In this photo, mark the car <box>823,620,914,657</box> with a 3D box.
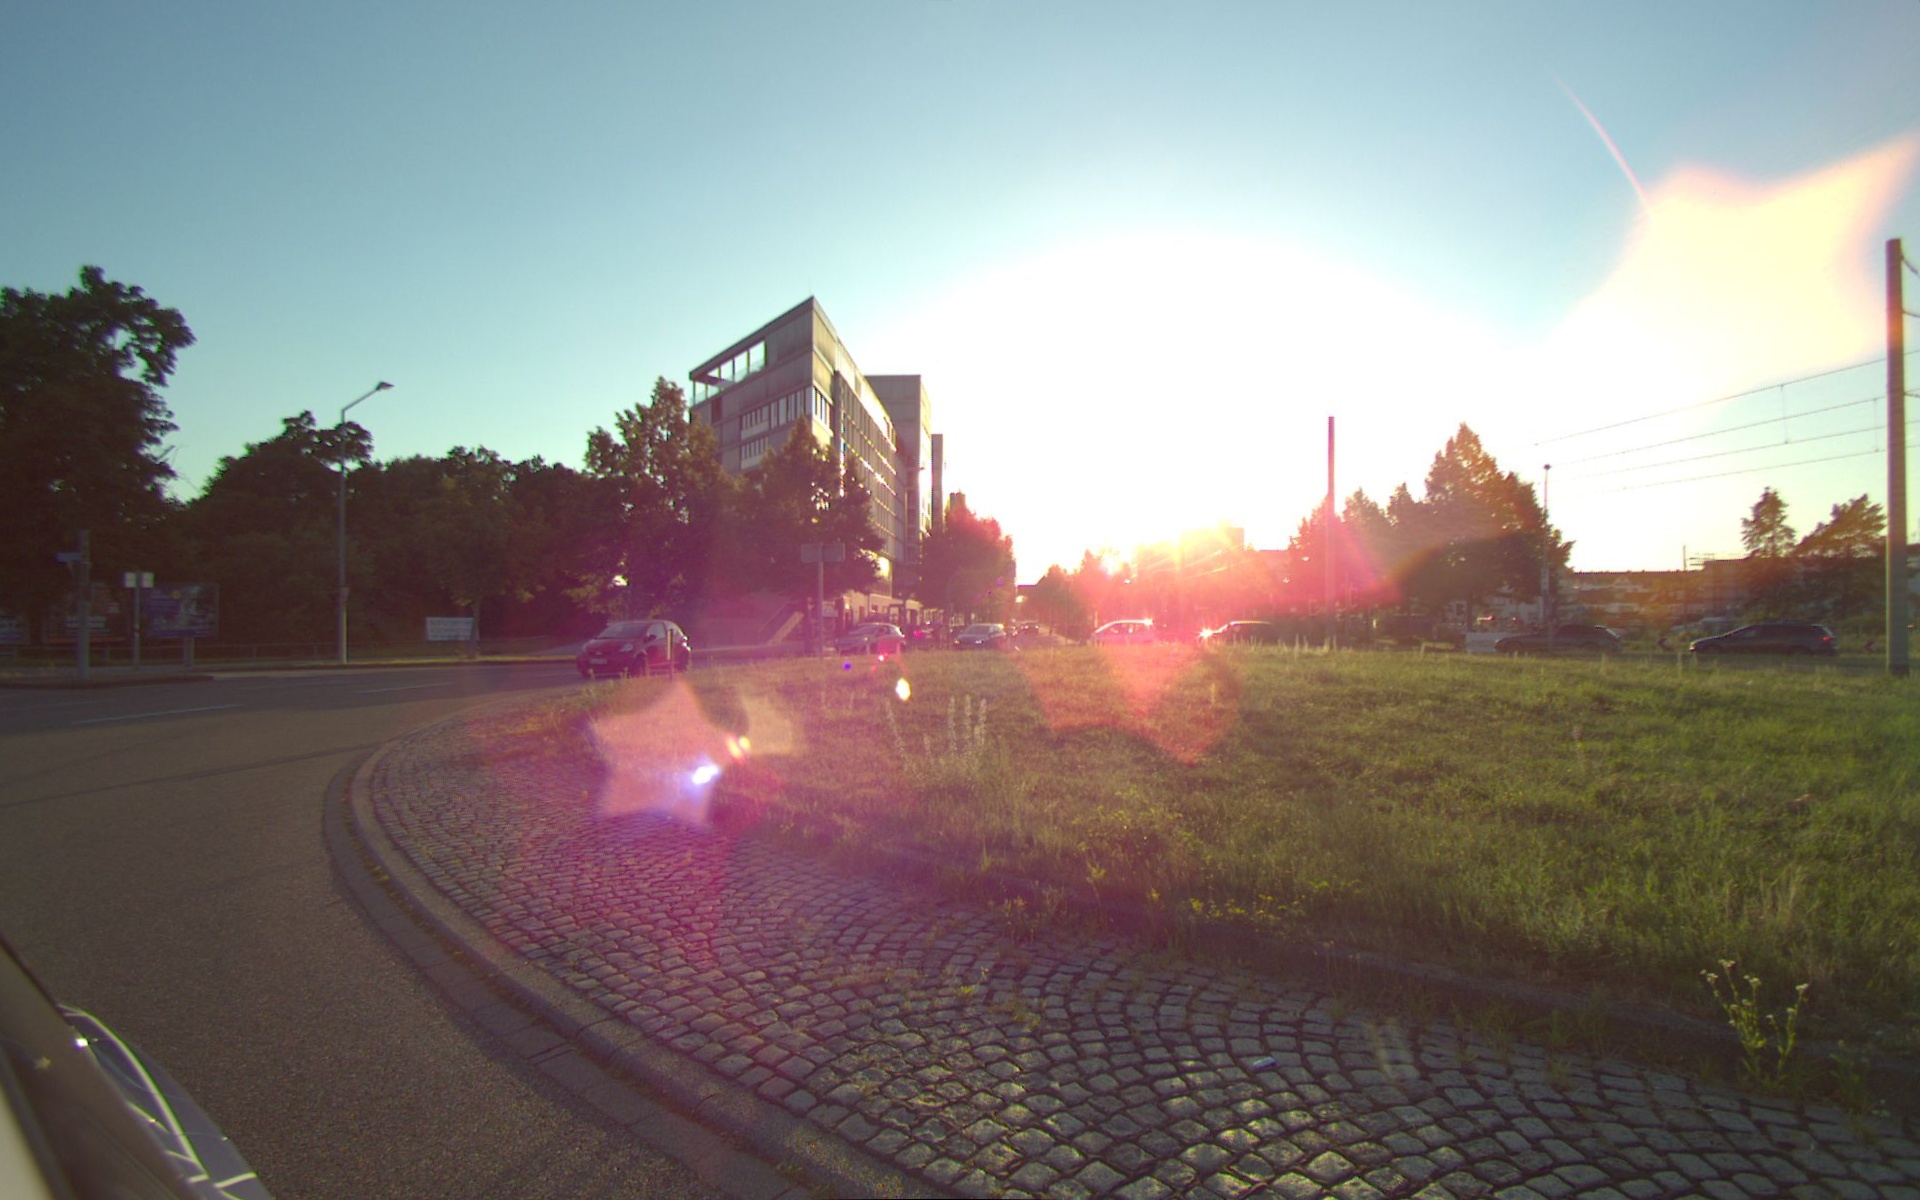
[{"bbox_3d":[-3.695,1.526,41.538,1.684,1.431,3.956,-1,-1,32],"label":"car"}]

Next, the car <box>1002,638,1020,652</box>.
[{"bbox_3d":[5.249,4.608,103.916,1.730,1.389,4.118,0,-2,6],"label":"car"}]

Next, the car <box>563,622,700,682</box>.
[{"bbox_3d":[-8.547,1.319,26.708,1.672,1.431,3.984,-1,-1,12],"label":"car"}]

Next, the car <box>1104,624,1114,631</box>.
[{"bbox_3d":[33.524,6.169,228.131,1.976,1.464,3.992,0,-1,6],"label":"car"}]

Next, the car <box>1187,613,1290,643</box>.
[{"bbox_3d":[13.188,1.313,48.040,4.325,1.386,1.999,0,-1,2],"label":"car"}]

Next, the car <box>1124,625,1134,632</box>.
[{"bbox_3d":[37.208,6.224,223.220,1.976,1.464,3.992,0,-1,6],"label":"car"}]

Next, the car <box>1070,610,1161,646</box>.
[{"bbox_3d":[7.291,1.308,47.668,3.830,1.592,1.958,0,-1,-9],"label":"car"}]

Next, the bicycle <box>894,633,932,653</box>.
[{"bbox_3d":[-2.916,2.679,62.971,2.315,1.254,0.742,0,-1,0],"label":"bicycle"}]

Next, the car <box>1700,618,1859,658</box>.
[{"bbox_3d":[30.623,1.385,37.925,1.969,1.386,4.389,1,-2,-42],"label":"car"}]

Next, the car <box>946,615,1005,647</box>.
[{"bbox_3d":[0.863,1.590,53.133,1.721,1.590,4.299,-1,-1,21],"label":"car"}]

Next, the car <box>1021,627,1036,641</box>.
[{"bbox_3d":[9.490,4.668,139.530,1.975,1.827,5.297,-2,-2,5],"label":"car"}]

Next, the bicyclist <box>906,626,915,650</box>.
[{"bbox_3d":[-3.080,2.355,62.993,0.602,1.451,0.692,0,-1,-2],"label":"bicyclist"}]

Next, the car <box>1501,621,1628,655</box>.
[{"bbox_3d":[25.721,1.597,43.110,4.351,1.386,1.972,-1,-2,42],"label":"car"}]

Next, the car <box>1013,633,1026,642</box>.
[{"bbox_3d":[9.768,6.136,166.405,1.973,1.464,3.998,0,-1,1],"label":"car"}]

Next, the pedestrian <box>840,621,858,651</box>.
[{"bbox_3d":[-7.733,2.503,70.343,0.995,2.029,0.768,-1,0,29],"label":"pedestrian"}]
